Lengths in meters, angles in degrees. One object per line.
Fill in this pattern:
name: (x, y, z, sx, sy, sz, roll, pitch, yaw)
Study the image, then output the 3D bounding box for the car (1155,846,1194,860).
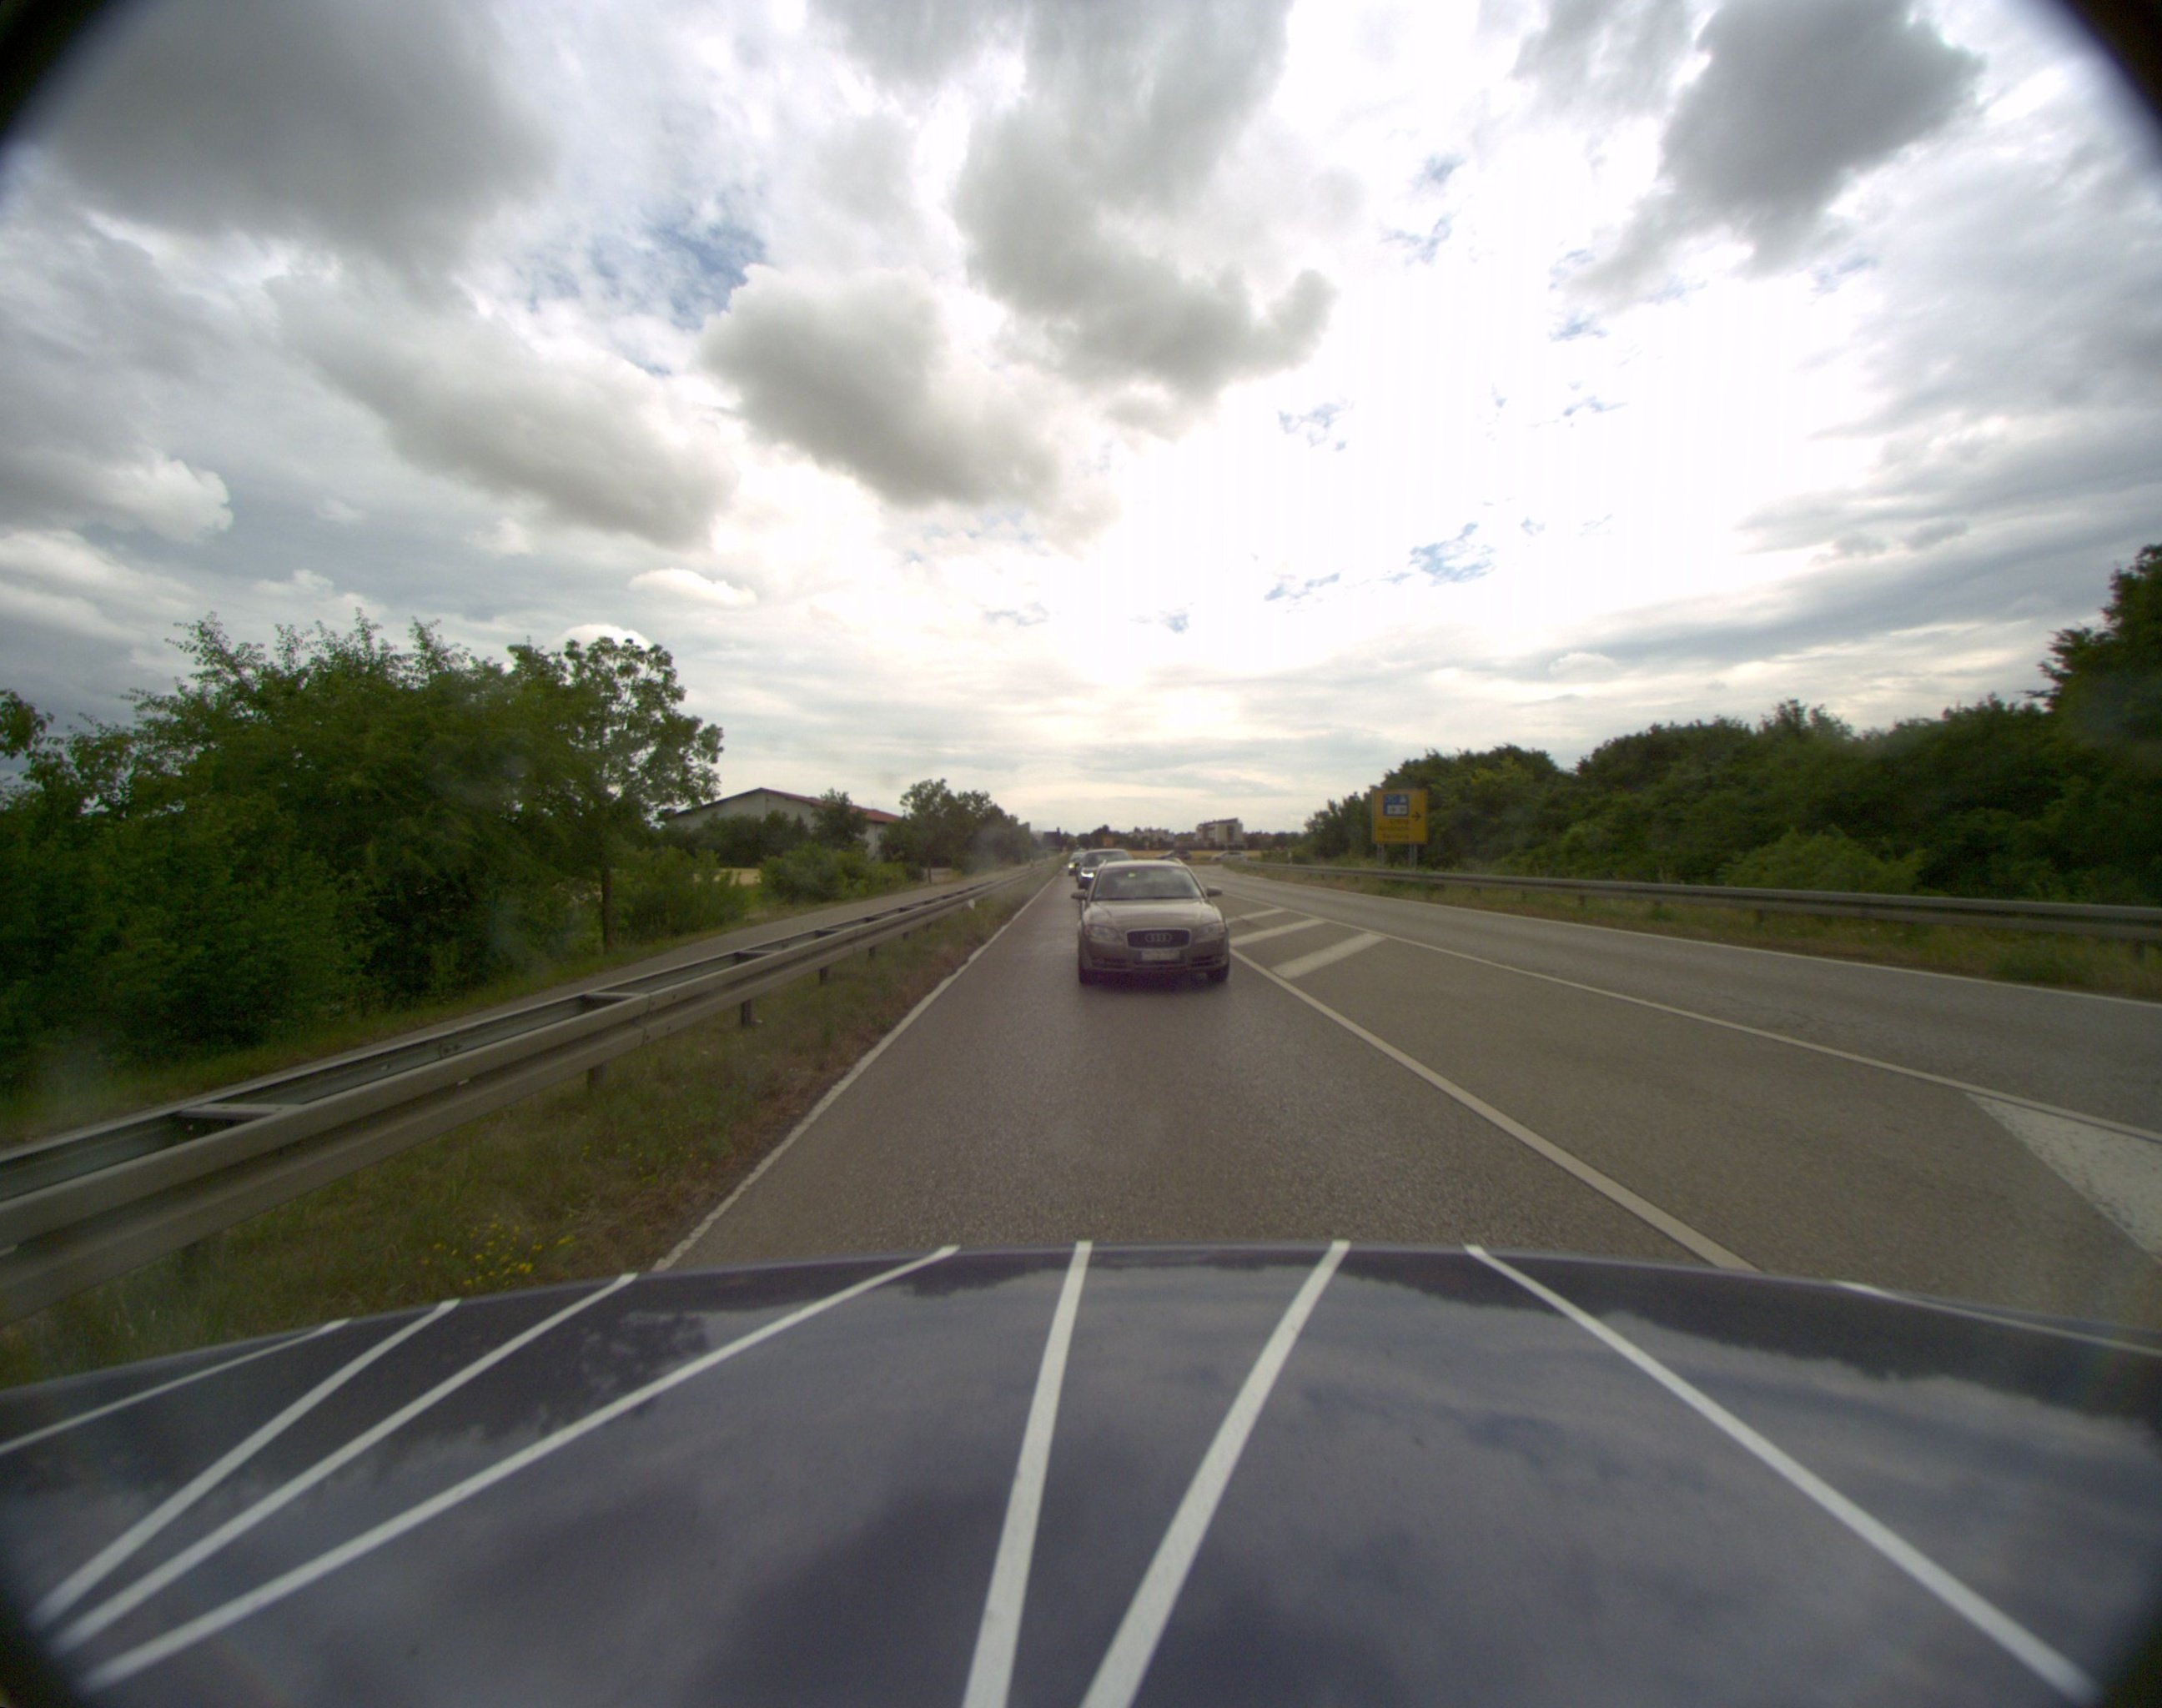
car: (12.076, -0.183, 98.385, 4.816, 1.680, 1.999, -1, 1, -4)

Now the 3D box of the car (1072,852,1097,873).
car: (0.227, 0.618, 56.836, 1.730, 1.436, 4.203, -2, 0, 0)

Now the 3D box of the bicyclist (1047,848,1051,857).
bicyclist: (-5.723, -0.326, 134.389, 0.640, 1.573, 0.969, -1, 1, 0)

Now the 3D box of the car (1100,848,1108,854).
car: (5.714, -0.719, 187.524, 1.804, 1.442, 4.445, -1, 1, -1)

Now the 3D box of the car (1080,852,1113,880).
car: (0.852, 0.651, 43.817, 1.730, 1.478, 4.203, -2, 0, 0)

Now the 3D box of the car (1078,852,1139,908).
car: (0.785, 0.751, 24.046, 1.730, 1.534, 4.203, -2, 1, 0)

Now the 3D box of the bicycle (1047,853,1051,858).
bicycle: (-5.716, 0.281, 134.420, 0.640, 0.972, 2.072, -1, 1, 0)

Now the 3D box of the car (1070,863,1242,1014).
car: (0.756, 0.882, 9.816, 1.730, 1.436, 4.203, -1, 0, 0)

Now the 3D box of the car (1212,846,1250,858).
car: (19.404, -0.228, 98.520, 4.672, 1.490, 2.001, -1, 1, 9)
